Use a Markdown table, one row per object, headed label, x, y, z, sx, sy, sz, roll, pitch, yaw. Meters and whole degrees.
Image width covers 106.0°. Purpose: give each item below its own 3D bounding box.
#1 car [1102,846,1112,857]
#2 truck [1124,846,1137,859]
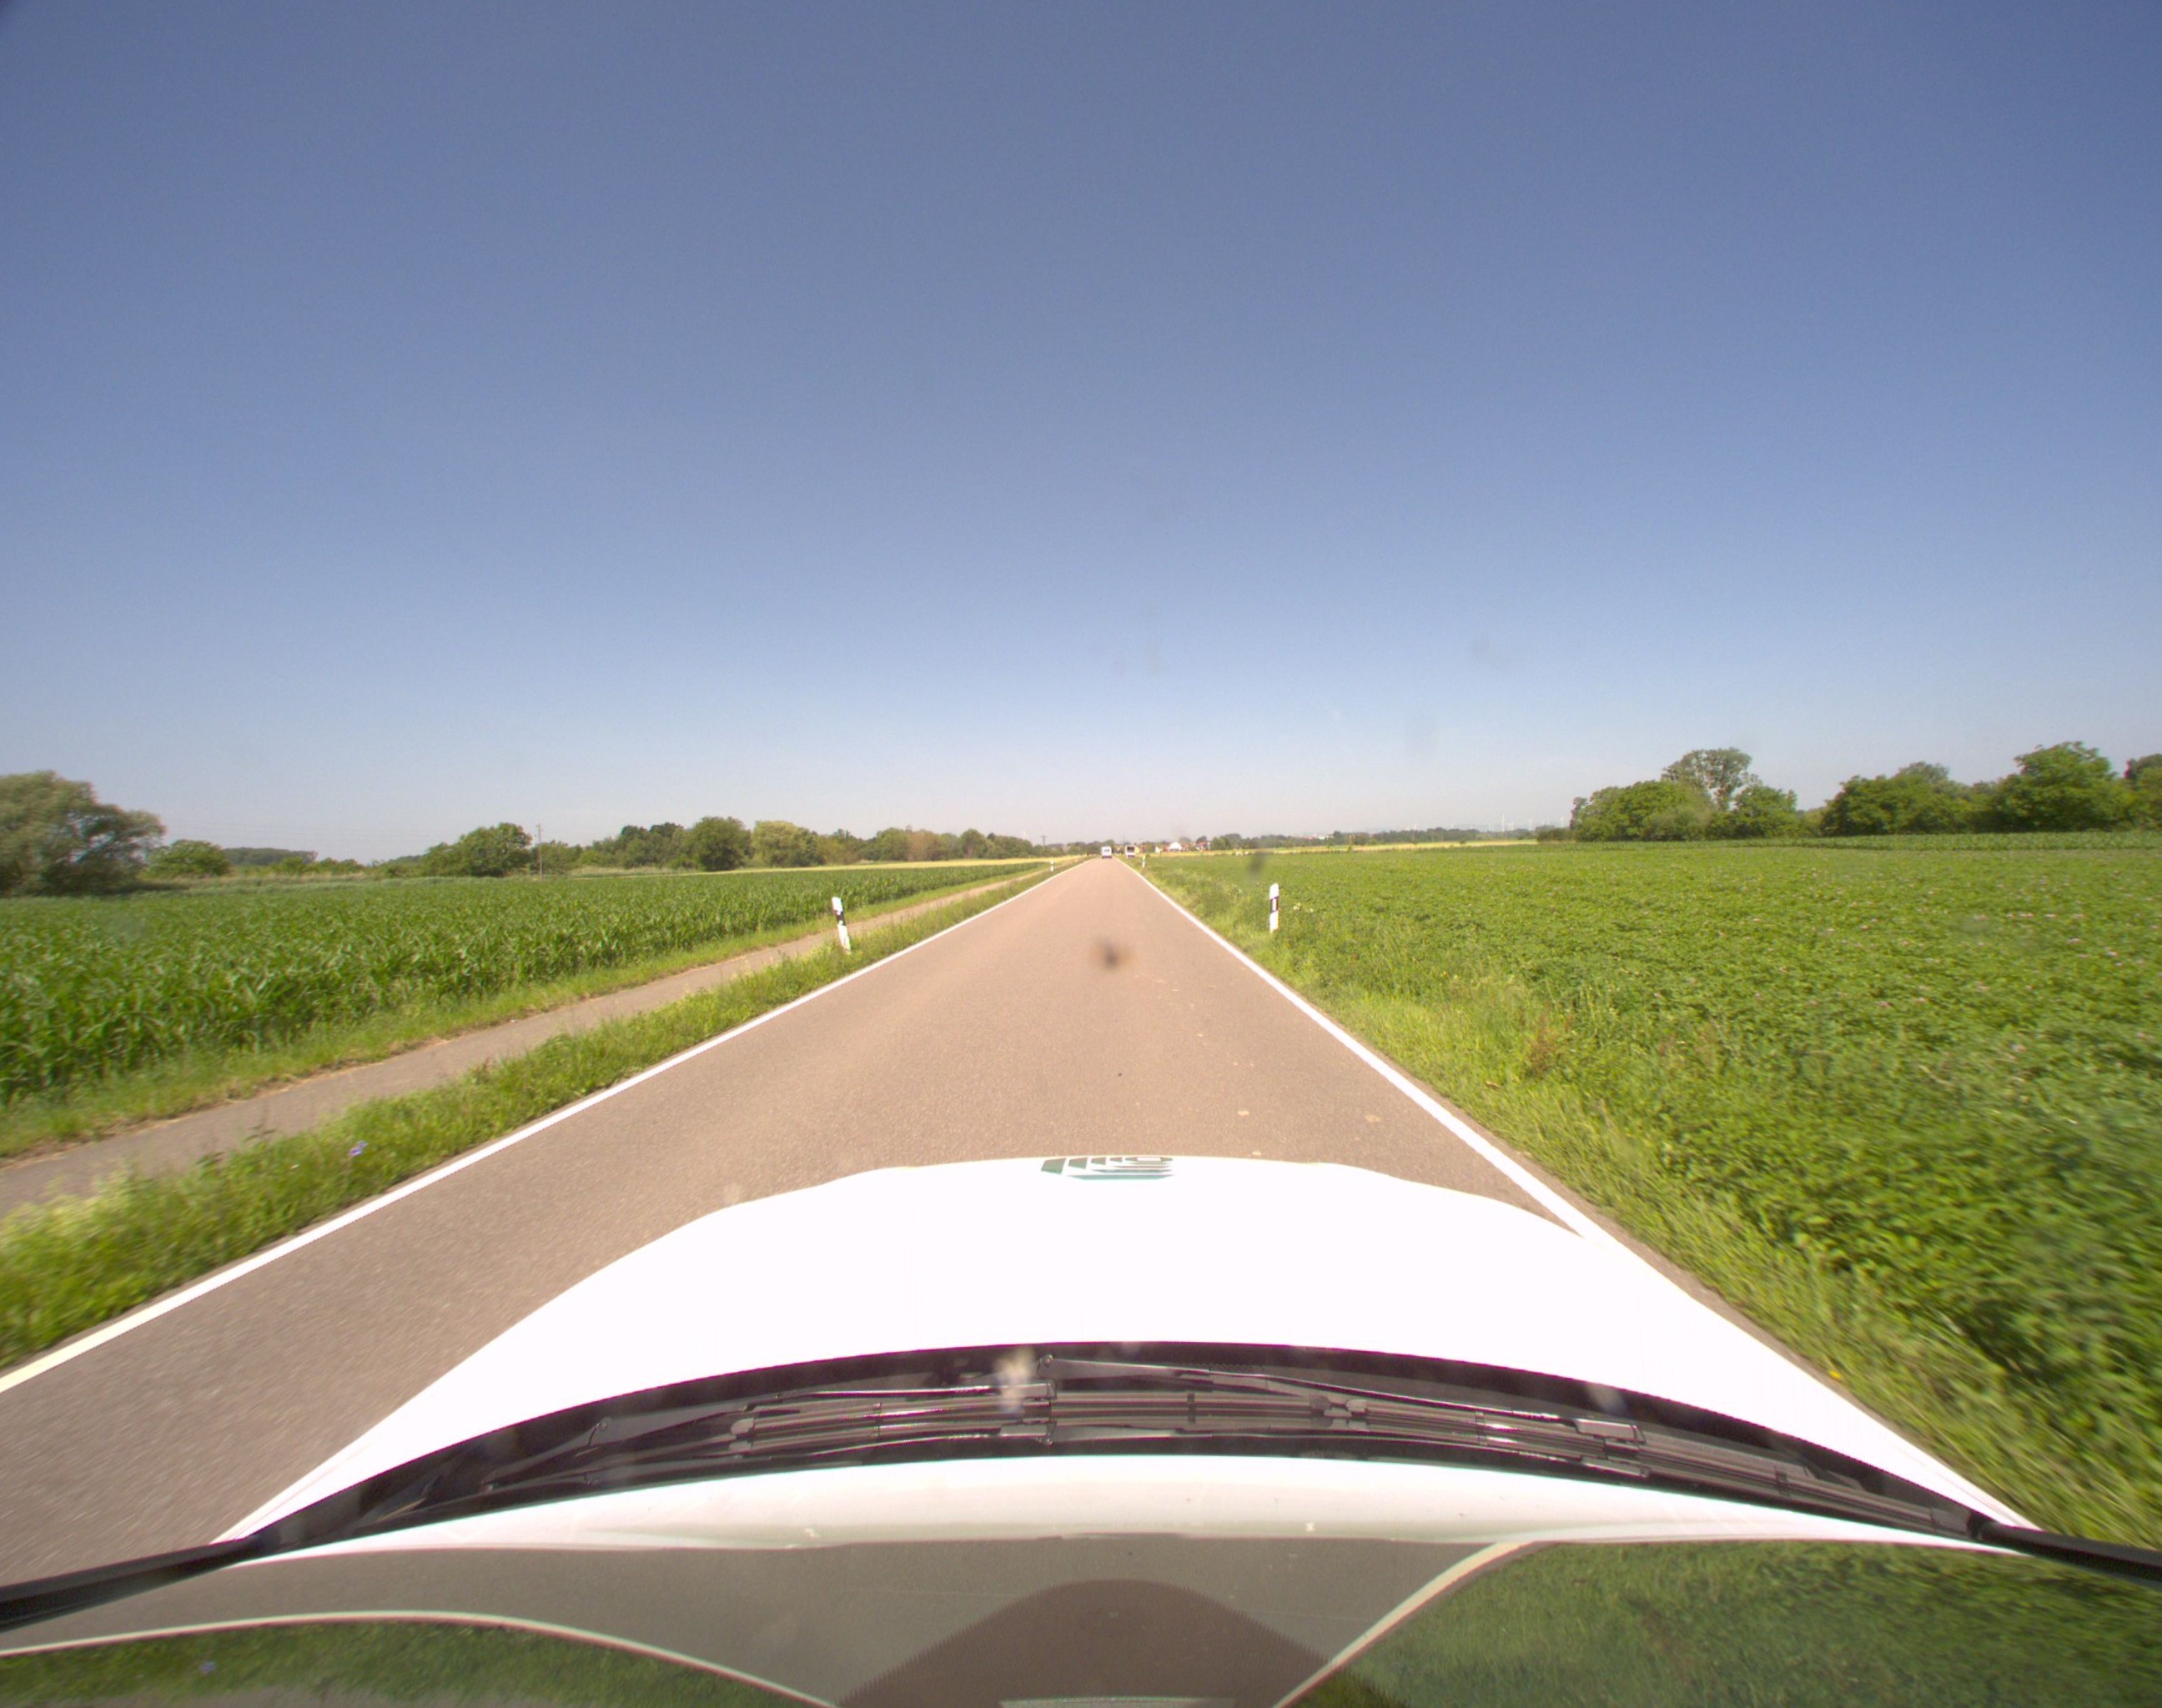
| label | x | y | z | sx | sy | sz | roll | pitch | yaw |
| --- | --- | --- | --- | --- | --- | --- | --- | --- | --- |
| car | 5.568 | -0.421 | 172.684 | 2.099 | 2.304 | 5.497 | 0 | 0 | 2 |
| truck | 11.139 | -0.342 | 184.173 | 2.328 | 2.942 | 7.007 | 1 | 0 | 0 |
